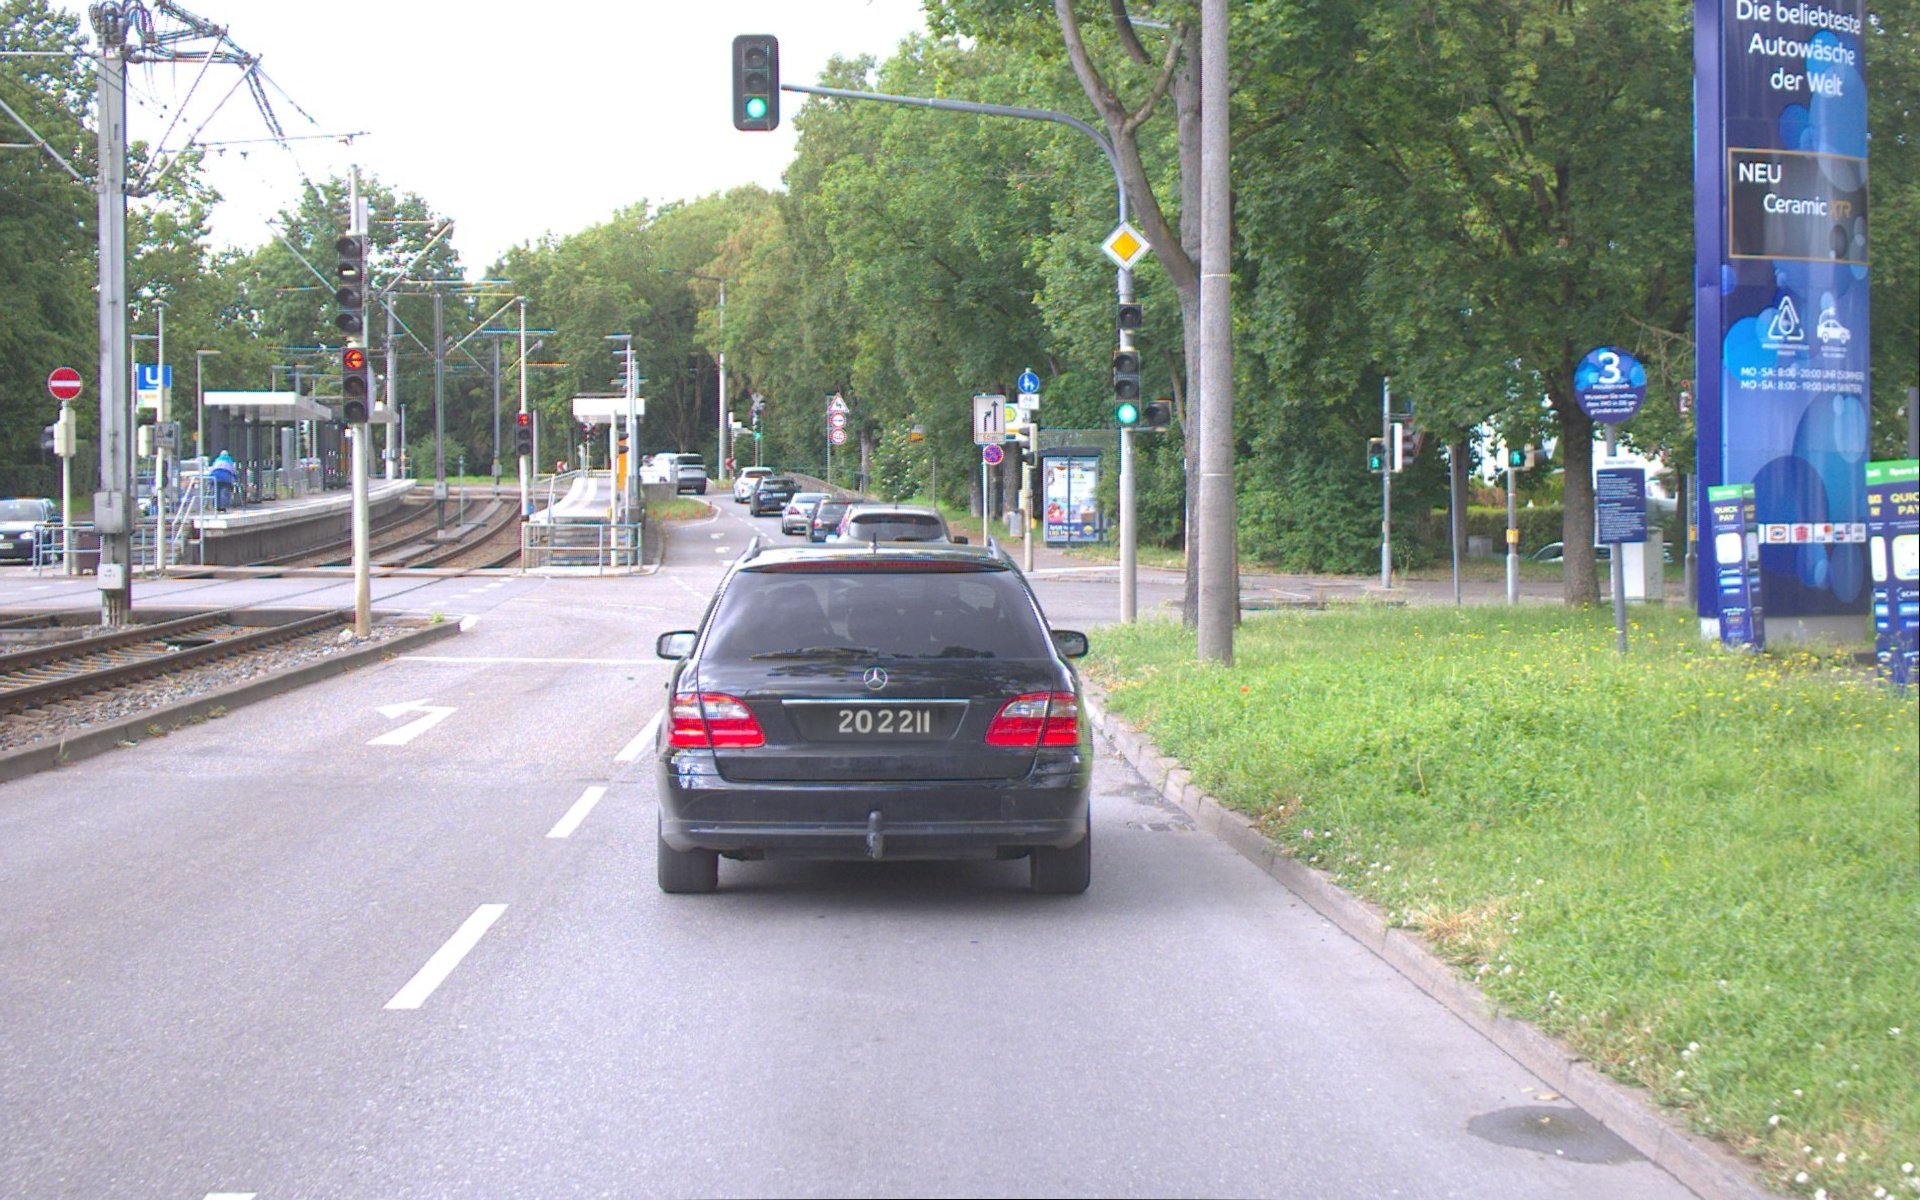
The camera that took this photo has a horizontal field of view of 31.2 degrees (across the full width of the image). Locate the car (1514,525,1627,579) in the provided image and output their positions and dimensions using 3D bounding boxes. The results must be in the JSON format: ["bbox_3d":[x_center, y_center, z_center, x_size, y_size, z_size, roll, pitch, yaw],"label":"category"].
[{"bbox_3d":[16.557,-1.314,93.383,1.478,1.381,3.841,2,1,-15],"label":"car"}]

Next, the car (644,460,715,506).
[{"bbox_3d":[-12.726,-5.302,155.851,1.993,2.007,4.001,2,1,-23],"label":"car"}]

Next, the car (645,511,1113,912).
[{"bbox_3d":[-0.461,0.374,15.100,1.781,1.520,4.001,0,1,-5],"label":"car"}]

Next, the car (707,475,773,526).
[{"bbox_3d":[-9.087,-4.093,141.956,1.993,2.007,4.001,2,1,-14],"label":"car"}]

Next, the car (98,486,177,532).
[{"bbox_3d":[-27.606,-3.080,115.467,1.993,1.476,4.508,0,2,-6],"label":"car"}]

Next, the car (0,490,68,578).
[{"bbox_3d":[-20.702,-1.460,75.108,1.696,1.854,4.001,2,1,-6],"label":"car"}]

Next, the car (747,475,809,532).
[{"bbox_3d":[-6.644,-3.515,125.465,1.993,1.960,4.001,2,1,-6],"label":"car"}]

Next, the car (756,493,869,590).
[{"bbox_3d":[-2.625,-1.050,61.908,1.782,1.642,4.000,2,1,0],"label":"car"}]

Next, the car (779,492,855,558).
[{"bbox_3d":[-4.362,-2.276,104.224,1.993,1.886,4.001,2,1,-6],"label":"car"}]

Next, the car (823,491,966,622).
[{"bbox_3d":[-0.852,-0.594,46.788,1.782,1.642,4.000,2,1,0],"label":"car"}]

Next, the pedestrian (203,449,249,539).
[{"bbox_3d":[-17.769,-2.569,83.245,0.969,2.178,0.976,0,2,-4],"label":"pedestrian"}]

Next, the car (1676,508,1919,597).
[{"bbox_3d":[14.719,-0.829,59.951,4.153,1.521,1.704,0,1,4],"label":"car"}]

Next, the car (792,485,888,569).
[{"bbox_3d":[-2.918,-1.759,82.747,1.993,1.911,4.001,2,1,-6],"label":"car"}]
